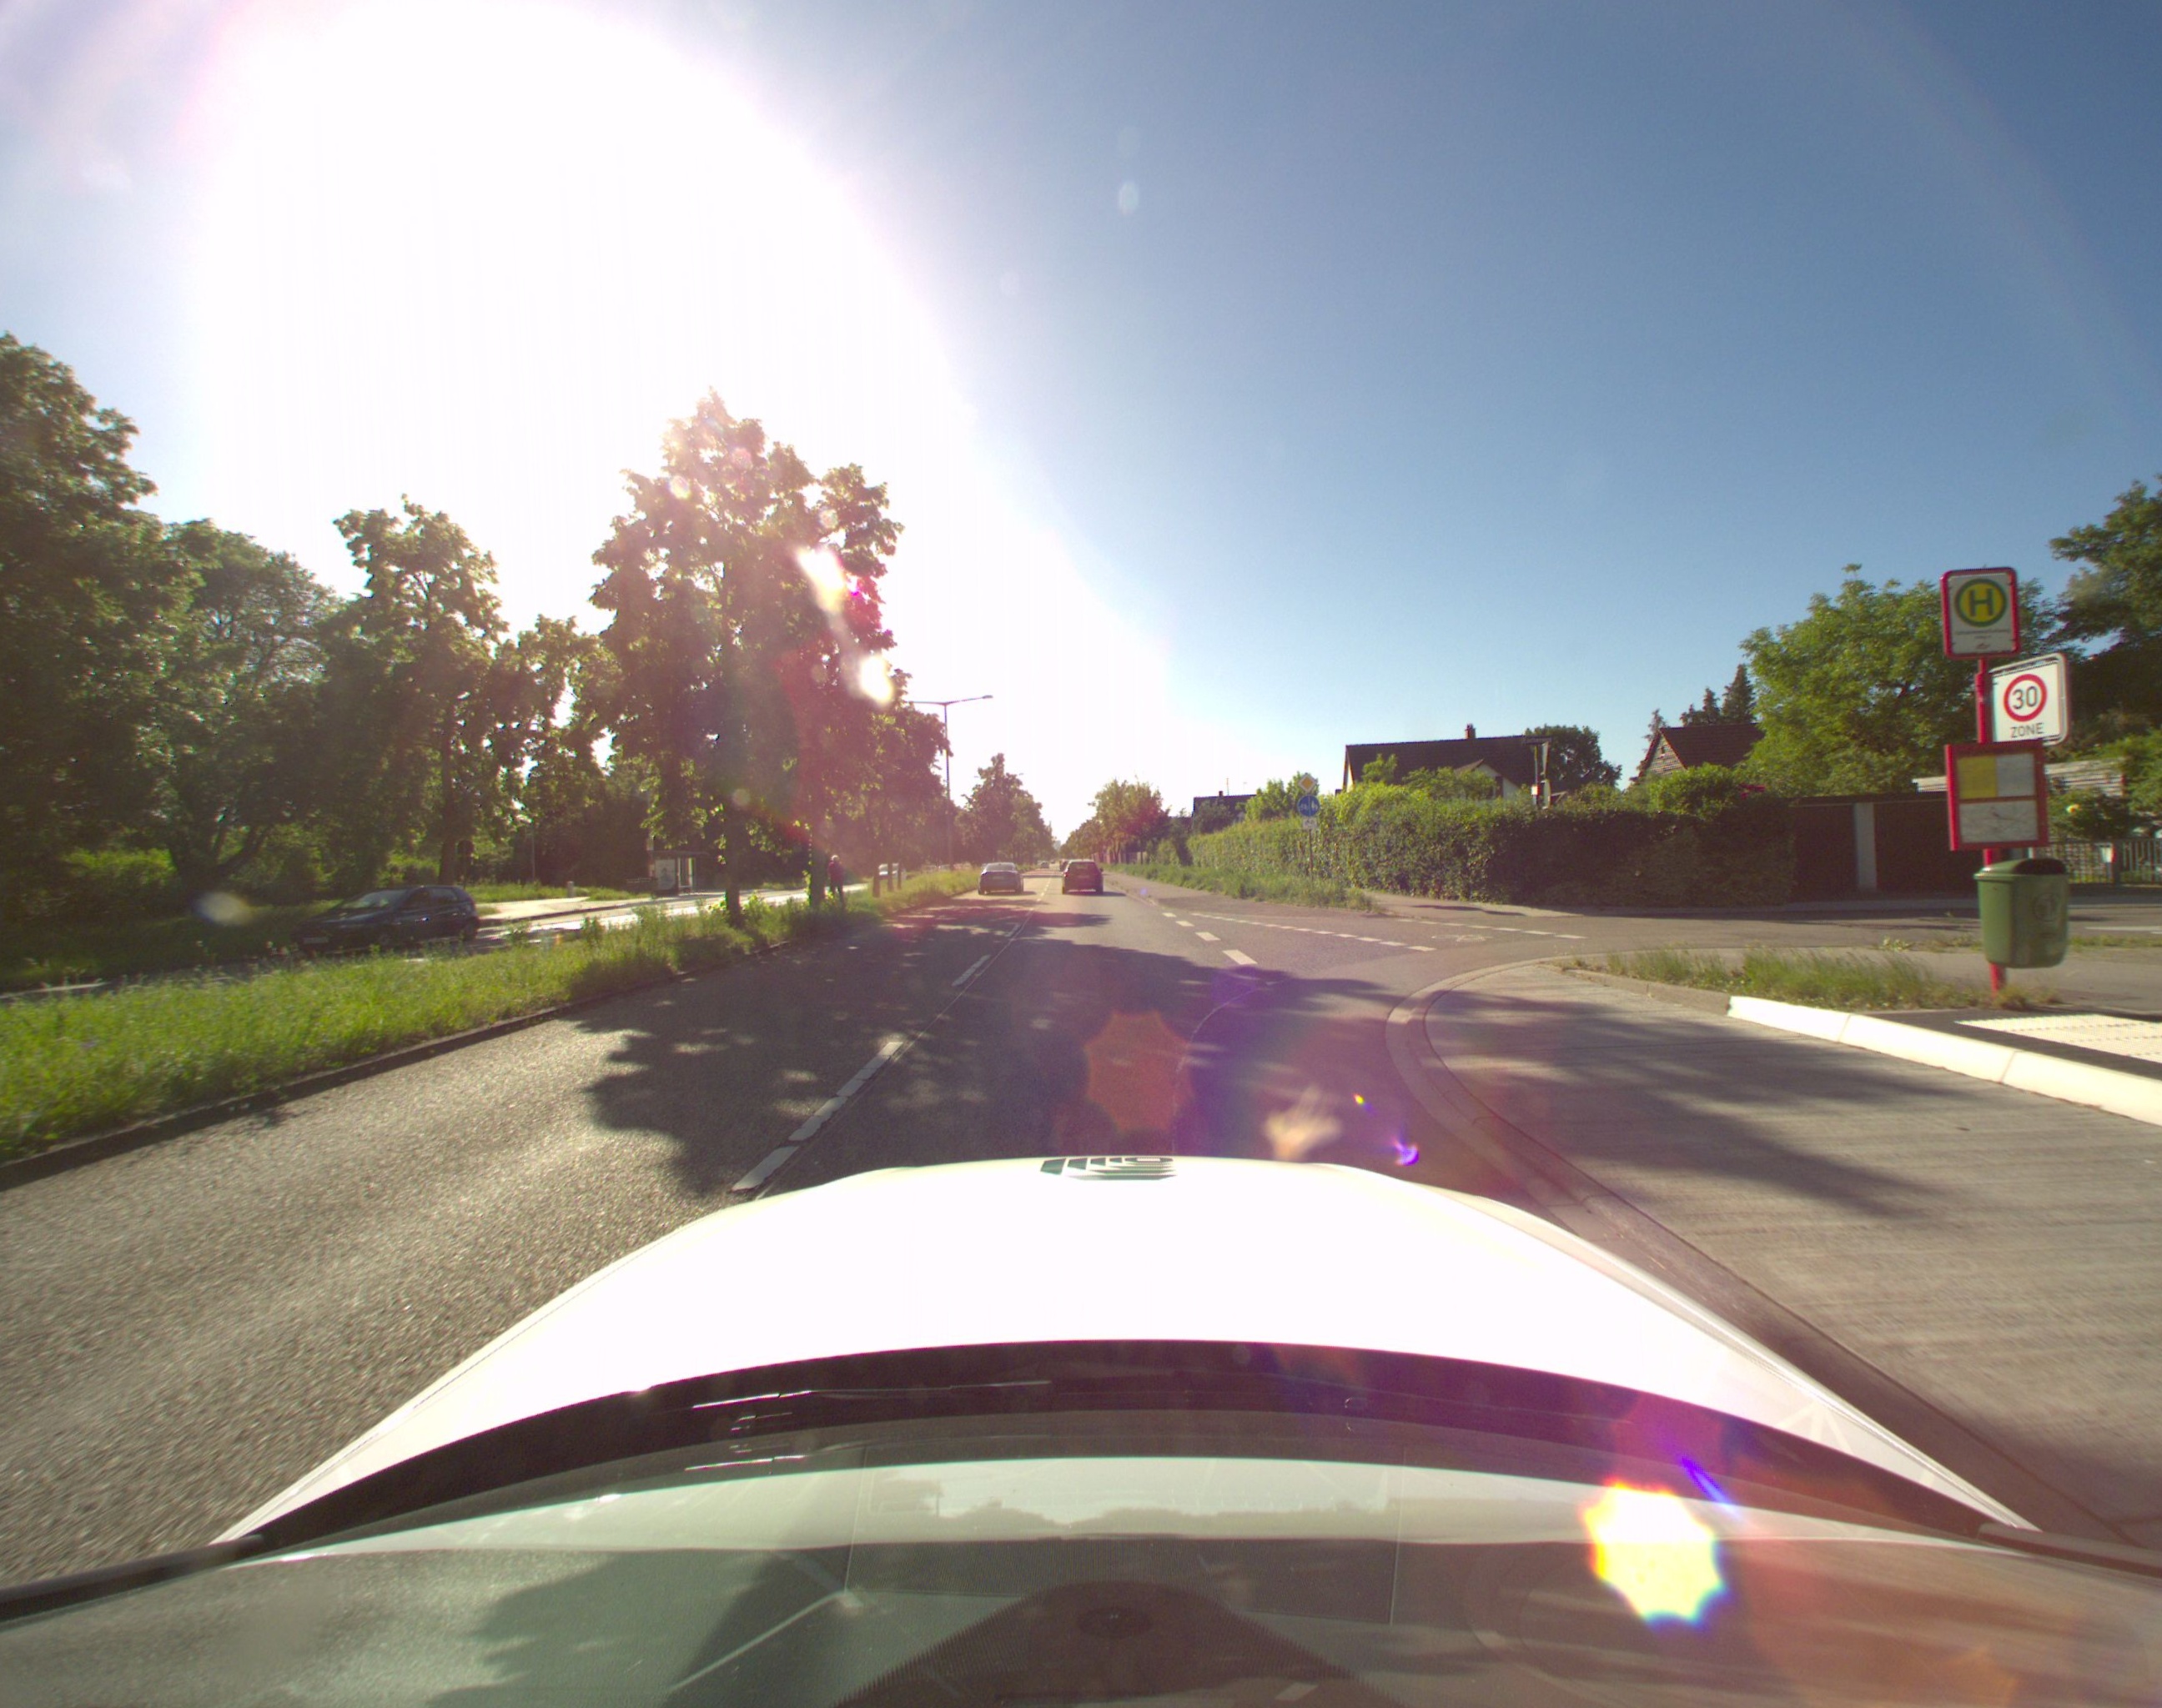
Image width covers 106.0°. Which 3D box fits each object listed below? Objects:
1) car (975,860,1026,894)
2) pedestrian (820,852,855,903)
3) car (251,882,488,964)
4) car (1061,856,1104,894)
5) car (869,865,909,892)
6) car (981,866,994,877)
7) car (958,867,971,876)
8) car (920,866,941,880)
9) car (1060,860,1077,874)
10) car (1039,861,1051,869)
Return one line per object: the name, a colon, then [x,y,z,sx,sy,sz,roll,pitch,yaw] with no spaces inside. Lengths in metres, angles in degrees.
car: [-3.633,1.030,37.450,1.989,1.405,3.998,-2,0,-1]
pedestrian: [-8.289,0.776,27.733,0.624,1.696,0.949,-2,0,29]
car: [-15.955,1.474,18.609,1.534,1.431,4.257,-3,0,1]
car: [0.047,0.907,35.649,1.755,1.559,3.998,0,-1,-1]
car: [-12.836,1.586,54.769,1.726,1.632,4.194,-3,0,-2]
car: [-15.279,2.861,133.268,1.709,1.602,4.355,-2,-1,-2]
car: [-19.606,2.912,136.814,1.834,1.413,3.995,-1,0,-3]
car: [-18.055,2.223,97.793,1.801,1.500,4.590,-2,0,-4]
car: [-1.587,1.625,102.629,1.742,1.597,4.166,-2,0,-6]
car: [-7.008,2.057,158.391,1.975,1.440,3.992,-2,0,-6]
